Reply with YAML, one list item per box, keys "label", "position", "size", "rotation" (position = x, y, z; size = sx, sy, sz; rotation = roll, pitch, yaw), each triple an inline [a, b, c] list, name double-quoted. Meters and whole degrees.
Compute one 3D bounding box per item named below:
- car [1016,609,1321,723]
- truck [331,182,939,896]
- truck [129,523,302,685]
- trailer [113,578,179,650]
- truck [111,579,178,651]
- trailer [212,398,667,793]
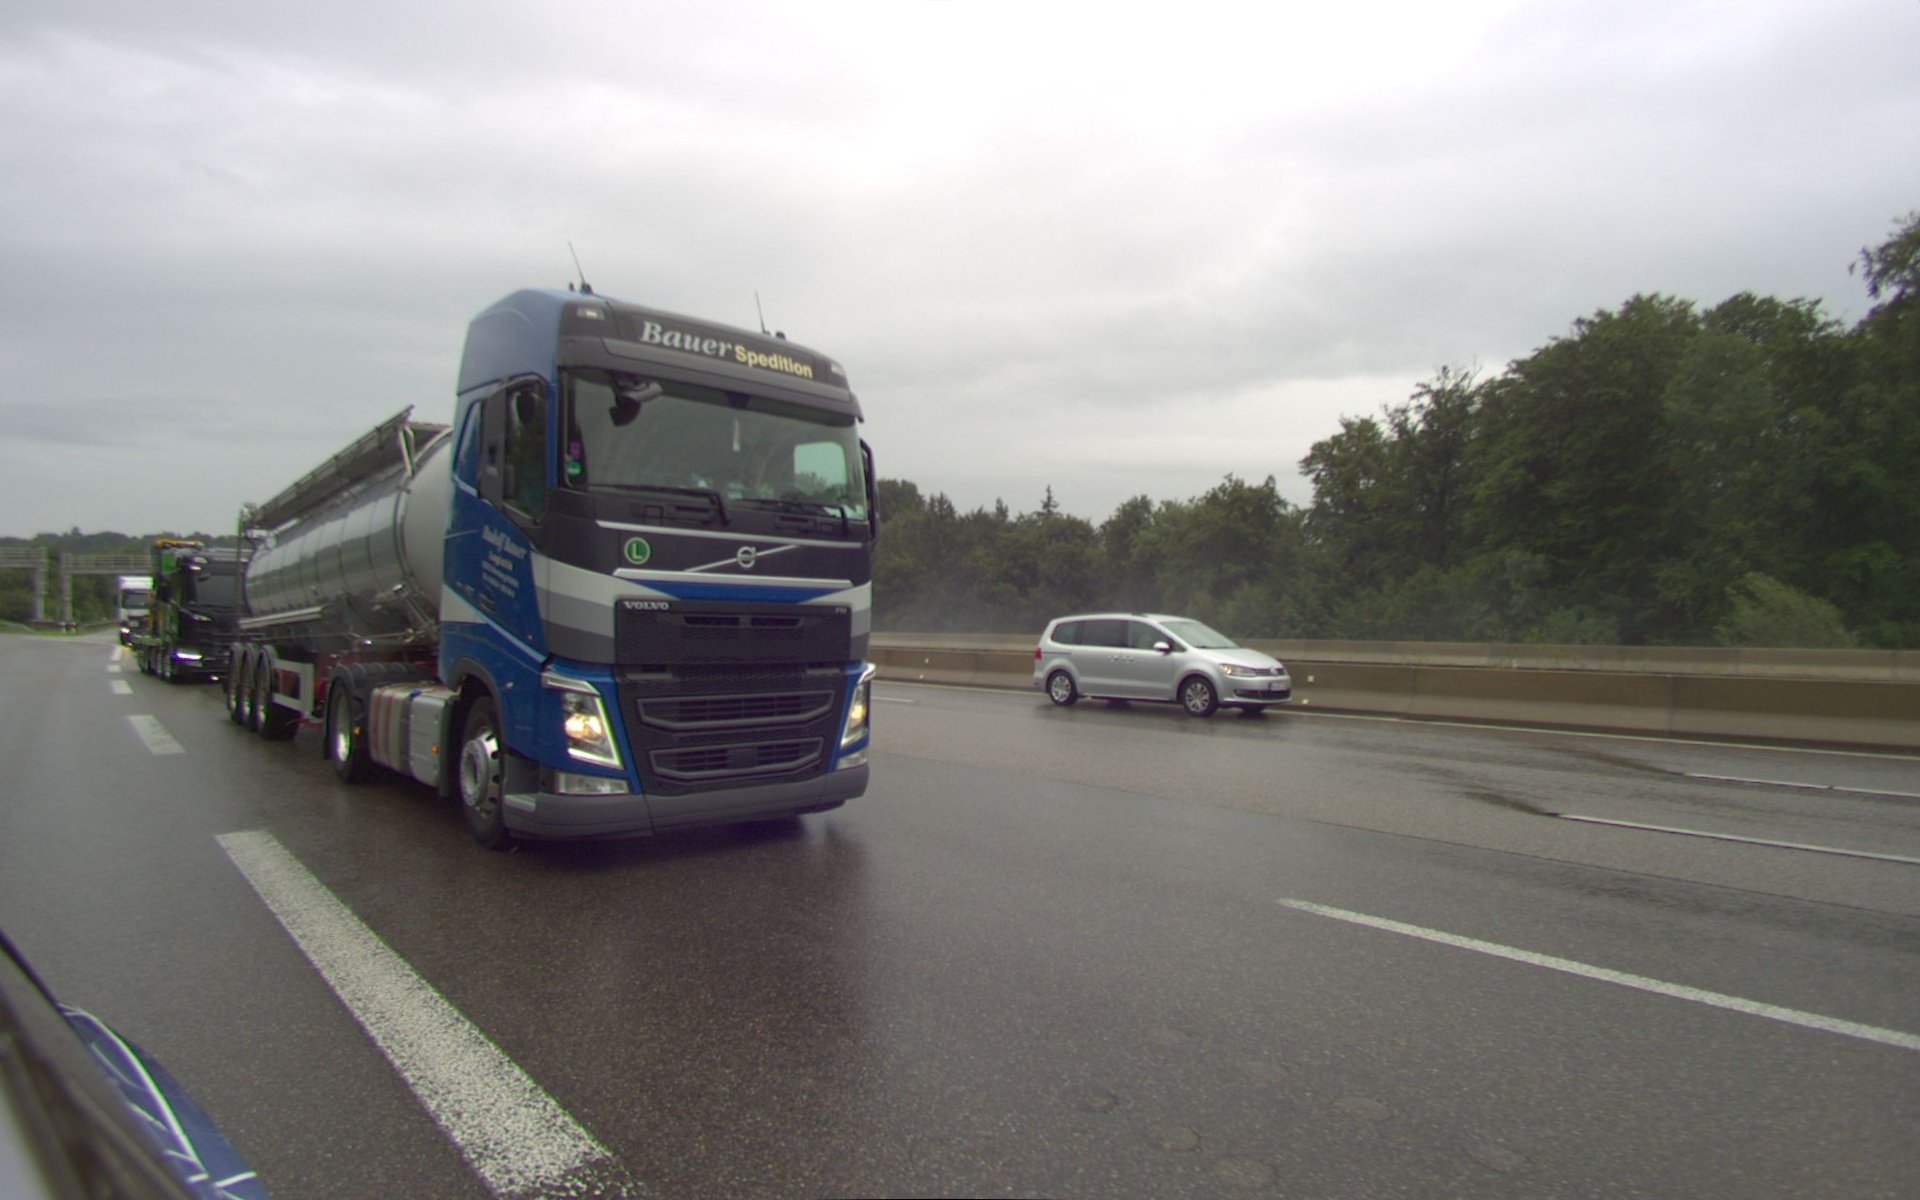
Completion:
- label: "car"
  position: [3.447, 1.051, 17.673]
  size: [1.969, 1.696, 5.089]
  rotation: [1, -2, -41]
- label: "truck"
  position: [-2.892, -0.269, 8.117]
  size: [2.842, 3.722, 5.063]
  rotation: [1, -2, -42]
- label: "truck"
  position: [-20.922, 0.181, 28.040]
  size: [2.796, 3.616, 11.813]
  rotation: [1, -2, -41]
- label: "trailer"
  position: [-52.778, 0.864, 65.891]
  size: [2.880, 4.237, 13.666]
  rotation: [1, 0, -37]
- label: "truck"
  position: [-49.367, 0.882, 61.420]
  size: [2.880, 4.130, 6.734]
  rotation: [1, 0, -37]
- label: "trailer"
  position: [-7.425, 0.068, 13.214]
  size: [2.839, 3.314, 10.090]
  rotation: [1, -2, -42]
